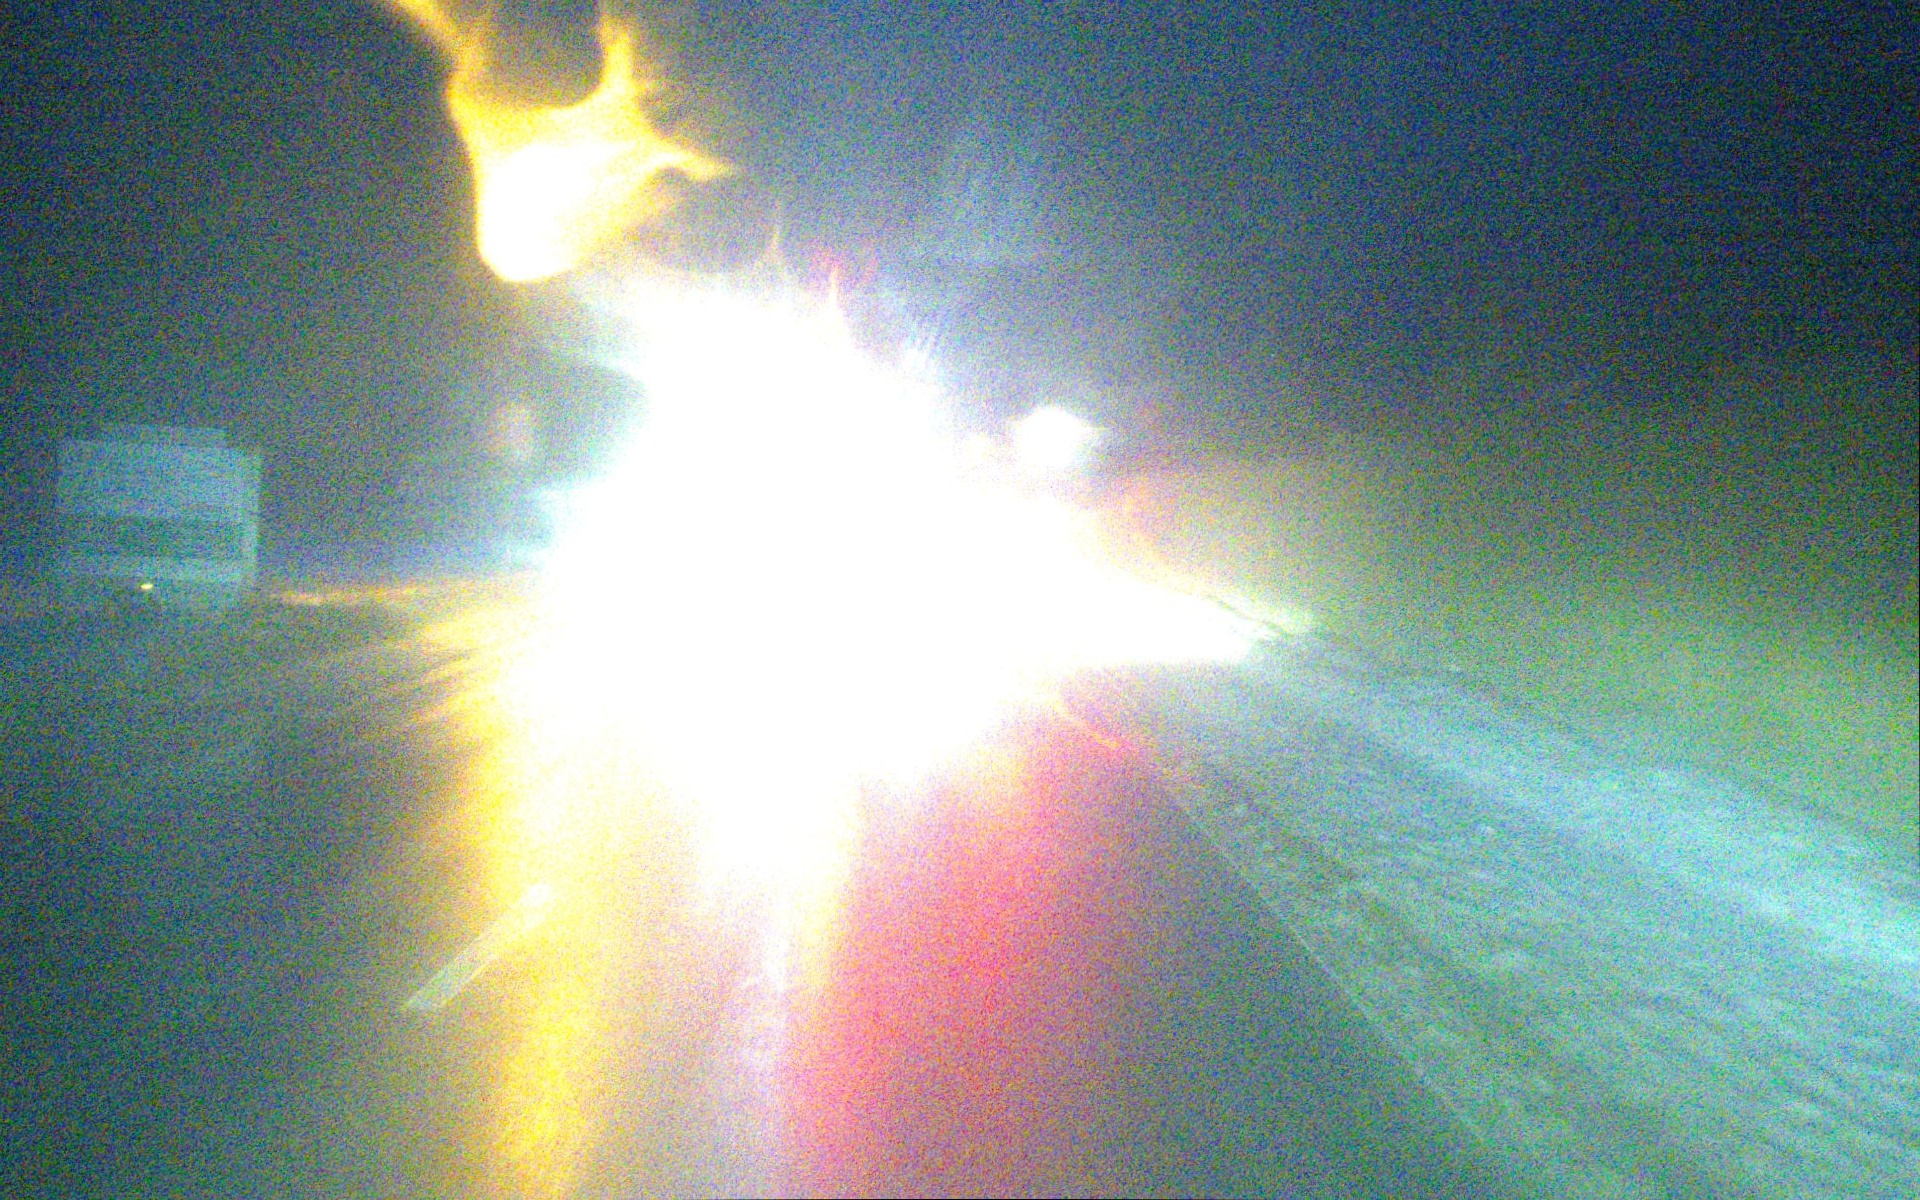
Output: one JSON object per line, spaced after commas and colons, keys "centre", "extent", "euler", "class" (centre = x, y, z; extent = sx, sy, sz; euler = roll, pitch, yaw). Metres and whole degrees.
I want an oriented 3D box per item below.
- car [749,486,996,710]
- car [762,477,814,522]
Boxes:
{"centre": [-0.676, -0.039, 27.778], "extent": [1.801, 1.623, 3.615], "euler": [2, 1, 0], "class": "car"}
{"centre": [-6.026, -3.517, 120.671], "extent": [1.731, 1.513, 4.016], "euler": [1, 1, -2], "class": "car"}
